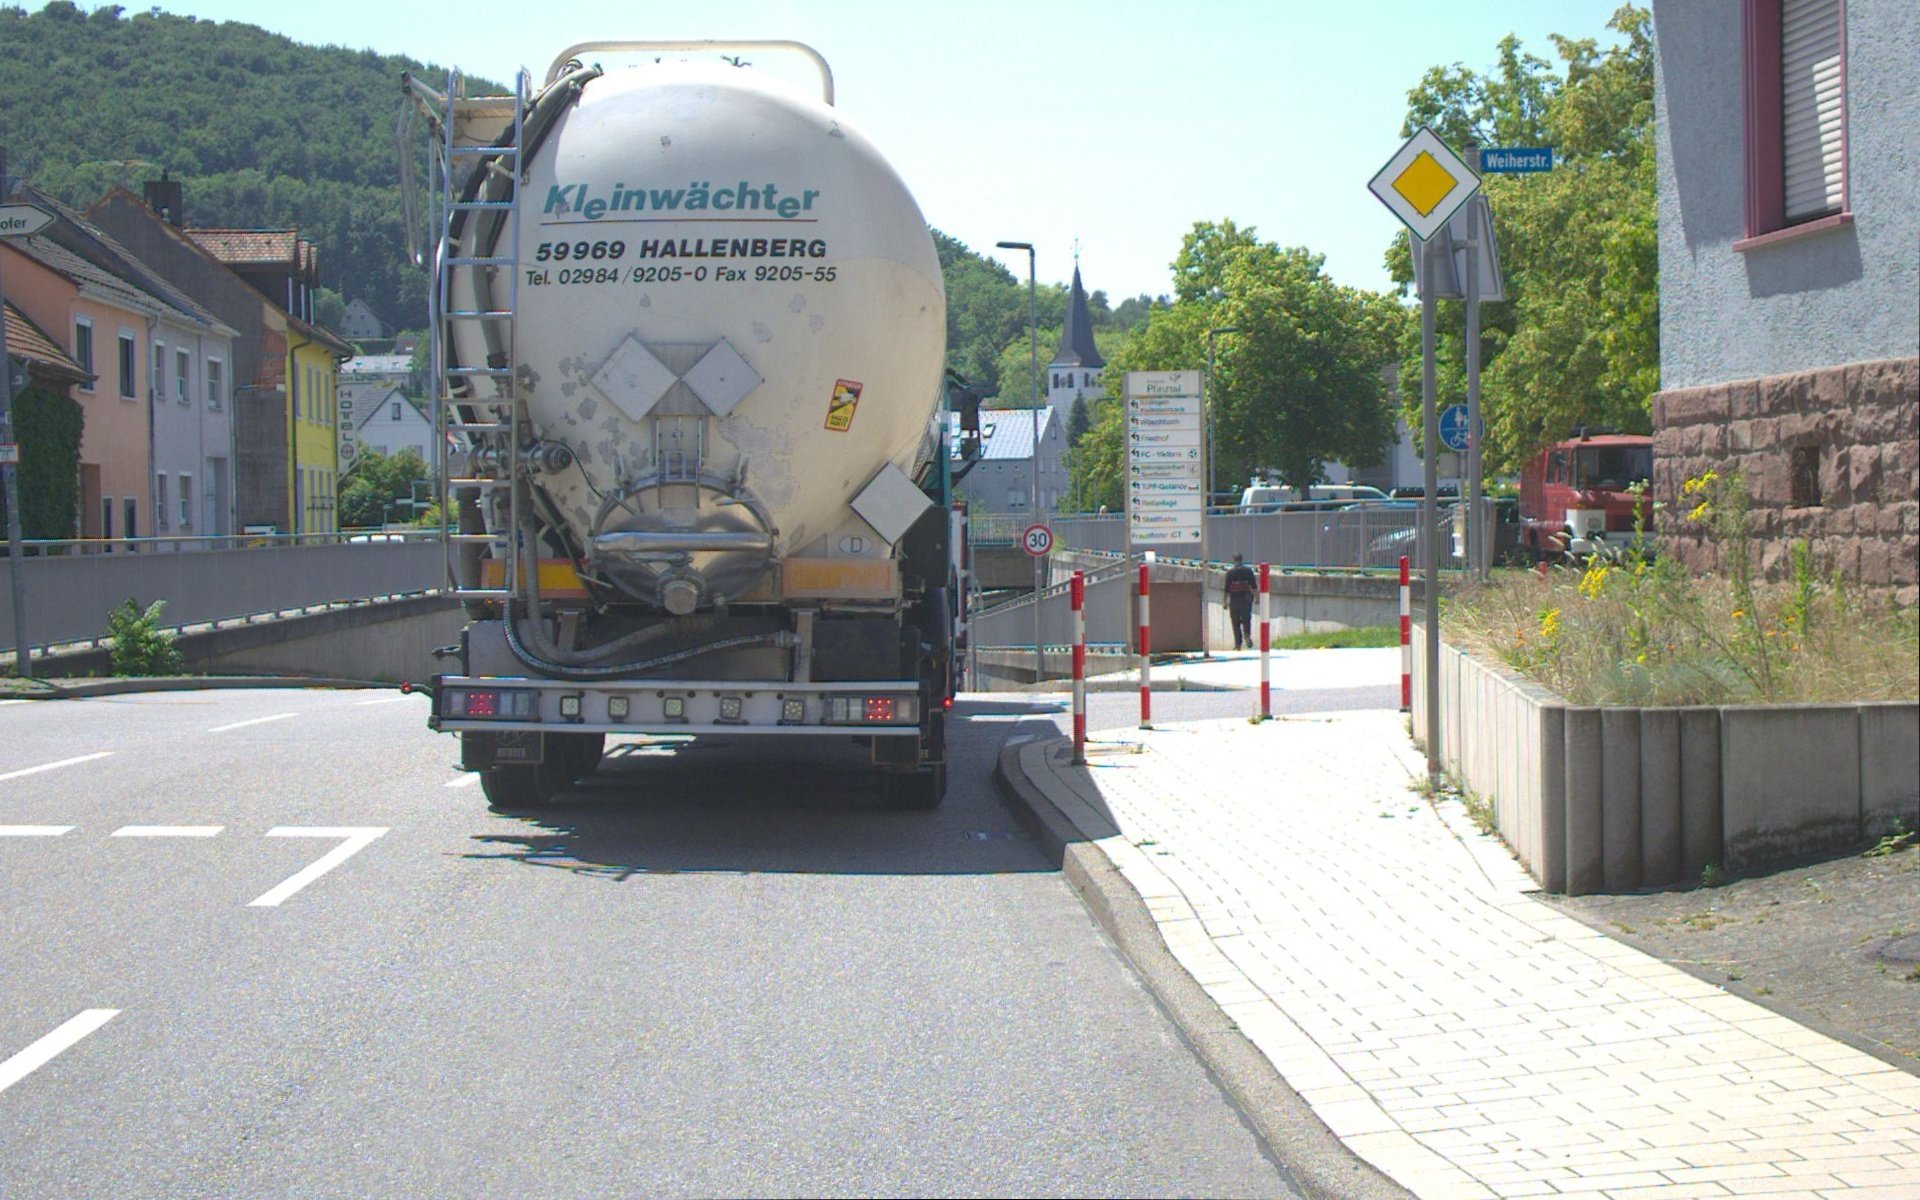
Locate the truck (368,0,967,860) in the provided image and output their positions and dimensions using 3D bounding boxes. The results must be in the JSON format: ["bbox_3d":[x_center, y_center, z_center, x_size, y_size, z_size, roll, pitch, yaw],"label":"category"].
[{"bbox_3d":[-1.740,-0.930,21.324,2.750,4.043,10.891,0,1,-4],"label":"truck"}]

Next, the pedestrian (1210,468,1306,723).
[{"bbox_3d":[2.007,-0.029,23.227,0.571,1.688,0.721,1,0,1],"label":"pedestrian"}]
